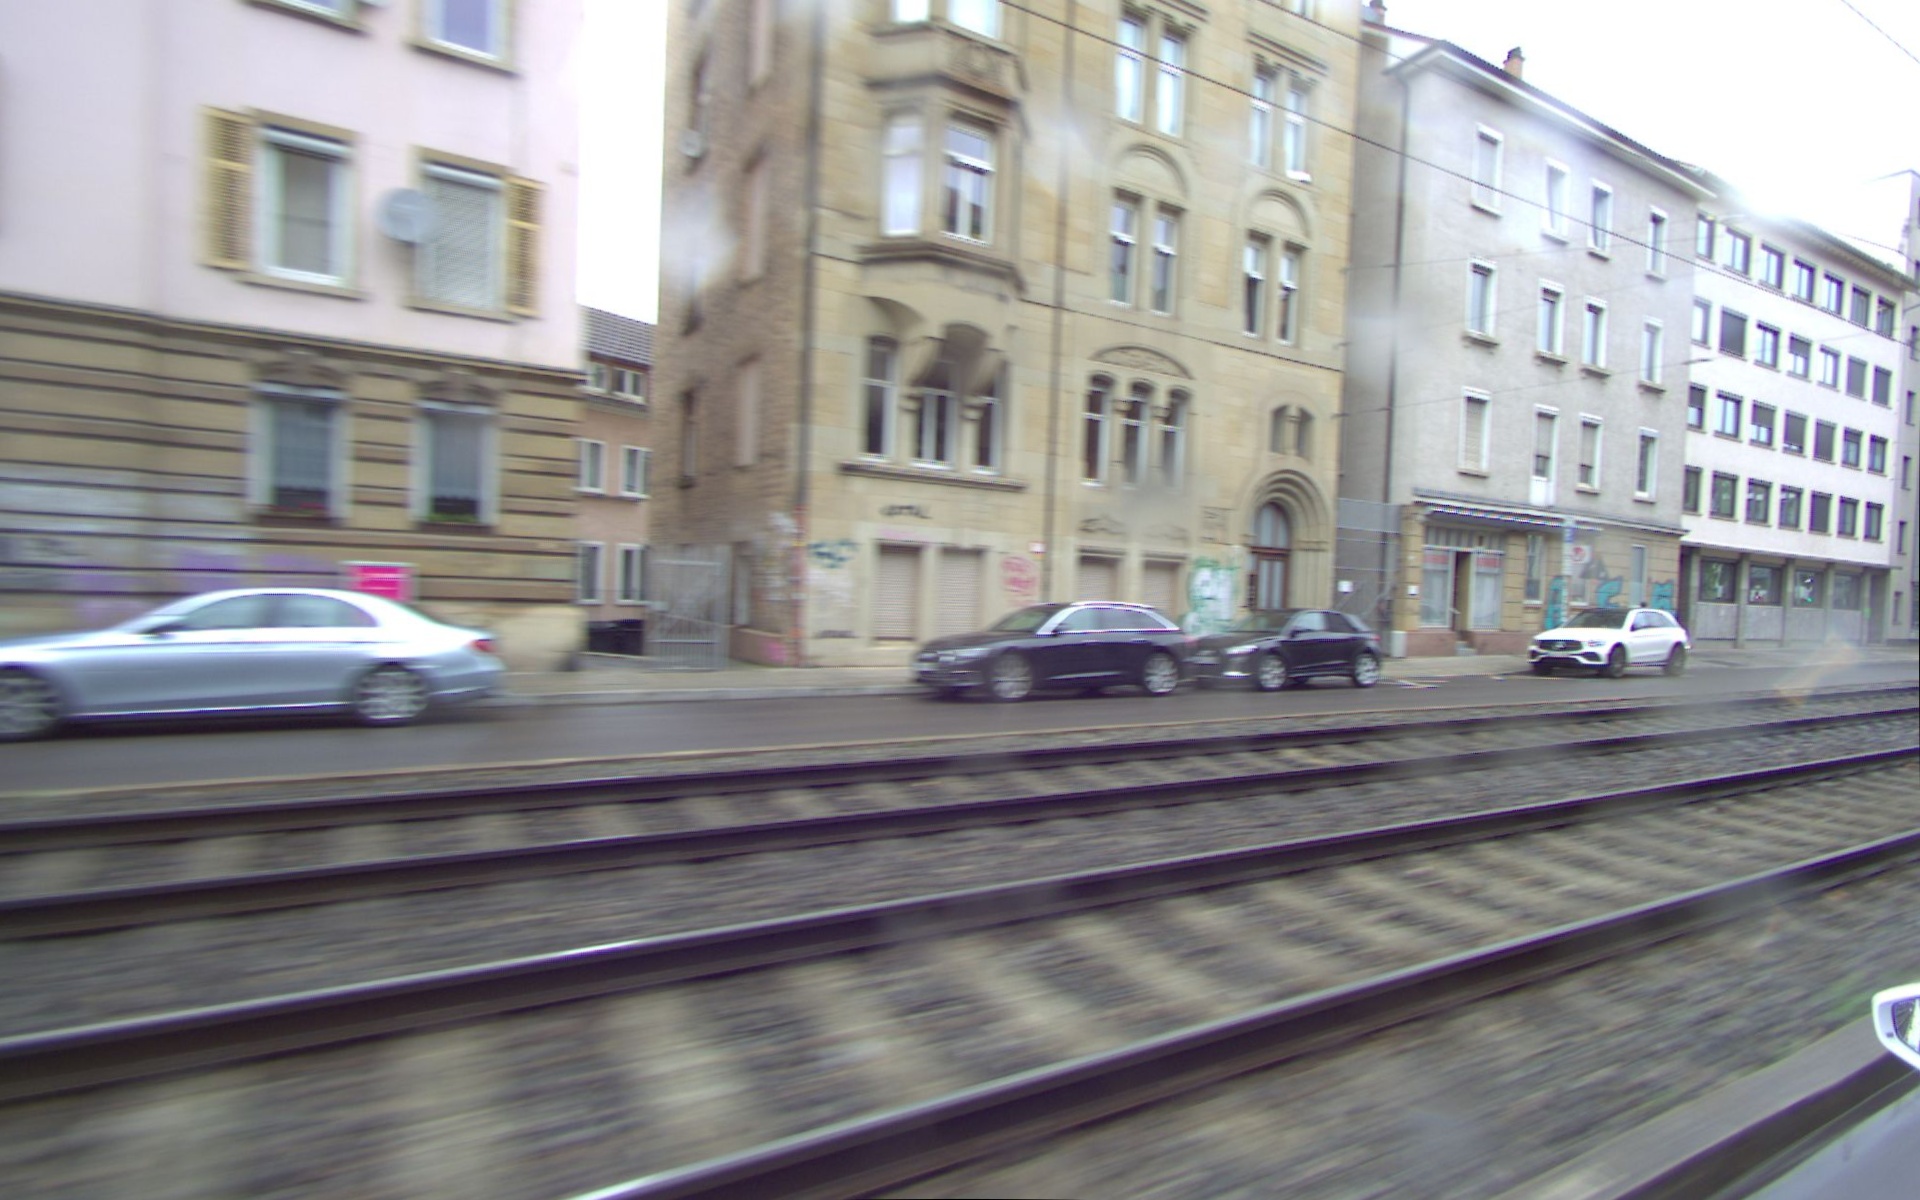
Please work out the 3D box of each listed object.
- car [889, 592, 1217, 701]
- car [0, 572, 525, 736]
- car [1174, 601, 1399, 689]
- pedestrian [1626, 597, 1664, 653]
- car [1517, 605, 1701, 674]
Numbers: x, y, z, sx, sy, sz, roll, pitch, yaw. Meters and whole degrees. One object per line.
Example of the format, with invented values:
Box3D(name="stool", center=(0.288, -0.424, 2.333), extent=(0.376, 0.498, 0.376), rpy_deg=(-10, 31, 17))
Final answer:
Box3D(name="car", center=(1.543, 0.707, 15.787), extent=(4.965, 1.475, 1.983), rpy_deg=(1, -2, -32))
Box3D(name="car", center=(-7.313, 0.525, 10.412), extent=(4.963, 1.415, 1.984), rpy_deg=(1, -2, -31))
Box3D(name="car", center=(6.076, 0.811, 18.594), extent=(4.123, 1.475, 1.727), rpy_deg=(1, -2, -32))
Box3D(name="pedestrian", center=(20.740, 0.751, 30.415), extent=(0.789, 1.634, 0.544), rpy_deg=(1, 4, -29))
Box3D(name="car", center=(15.966, 0.962, 24.644), extent=(4.696, 1.556, 1.983), rpy_deg=(1, -2, -32))
